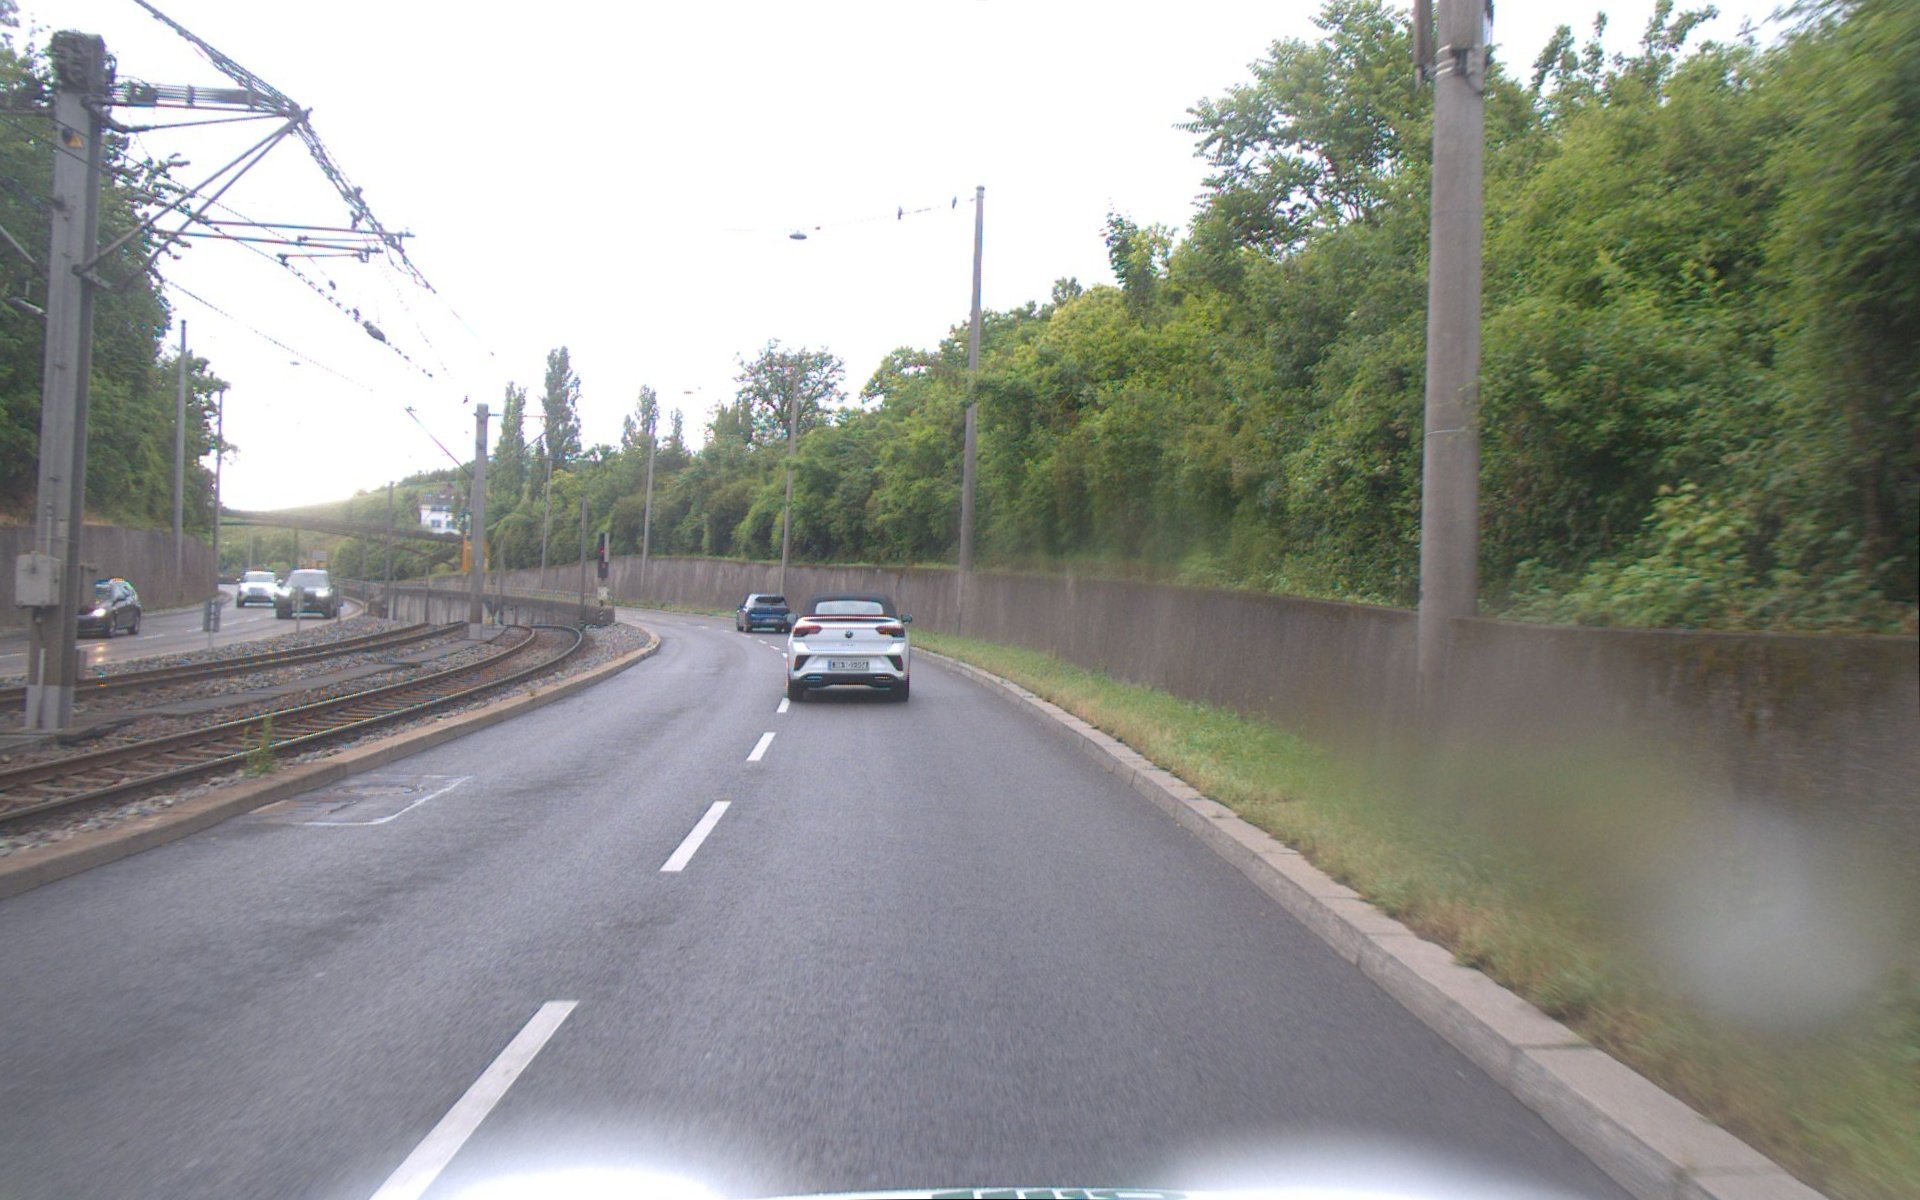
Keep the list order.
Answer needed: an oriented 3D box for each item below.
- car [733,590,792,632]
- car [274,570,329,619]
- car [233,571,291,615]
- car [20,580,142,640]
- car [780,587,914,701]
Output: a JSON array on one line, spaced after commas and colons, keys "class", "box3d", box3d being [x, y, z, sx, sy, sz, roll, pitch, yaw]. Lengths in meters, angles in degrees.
[{"class": "car", "box3d": [-7.586, 0.412, 63.232, 1.734, 1.527, 3.985, 1, 0, -14]}, {"class": "car", "box3d": [-25.316, -0.223, 63.659, 1.900, 1.818, 4.423, 0, 1, -21]}, {"class": "car", "box3d": [-33.489, -0.339, 79.423, 1.960, 2.049, 3.984, 1, 0, -15]}, {"class": "car", "box3d": [-22.779, 0.225, 43.029, 1.896, 1.439, 4.431, -1, 1, -16]}, {"class": "car", "box3d": [-1.616, 0.608, 24.958, 1.833, 1.551, 4.538, 0, 0, -2]}]
